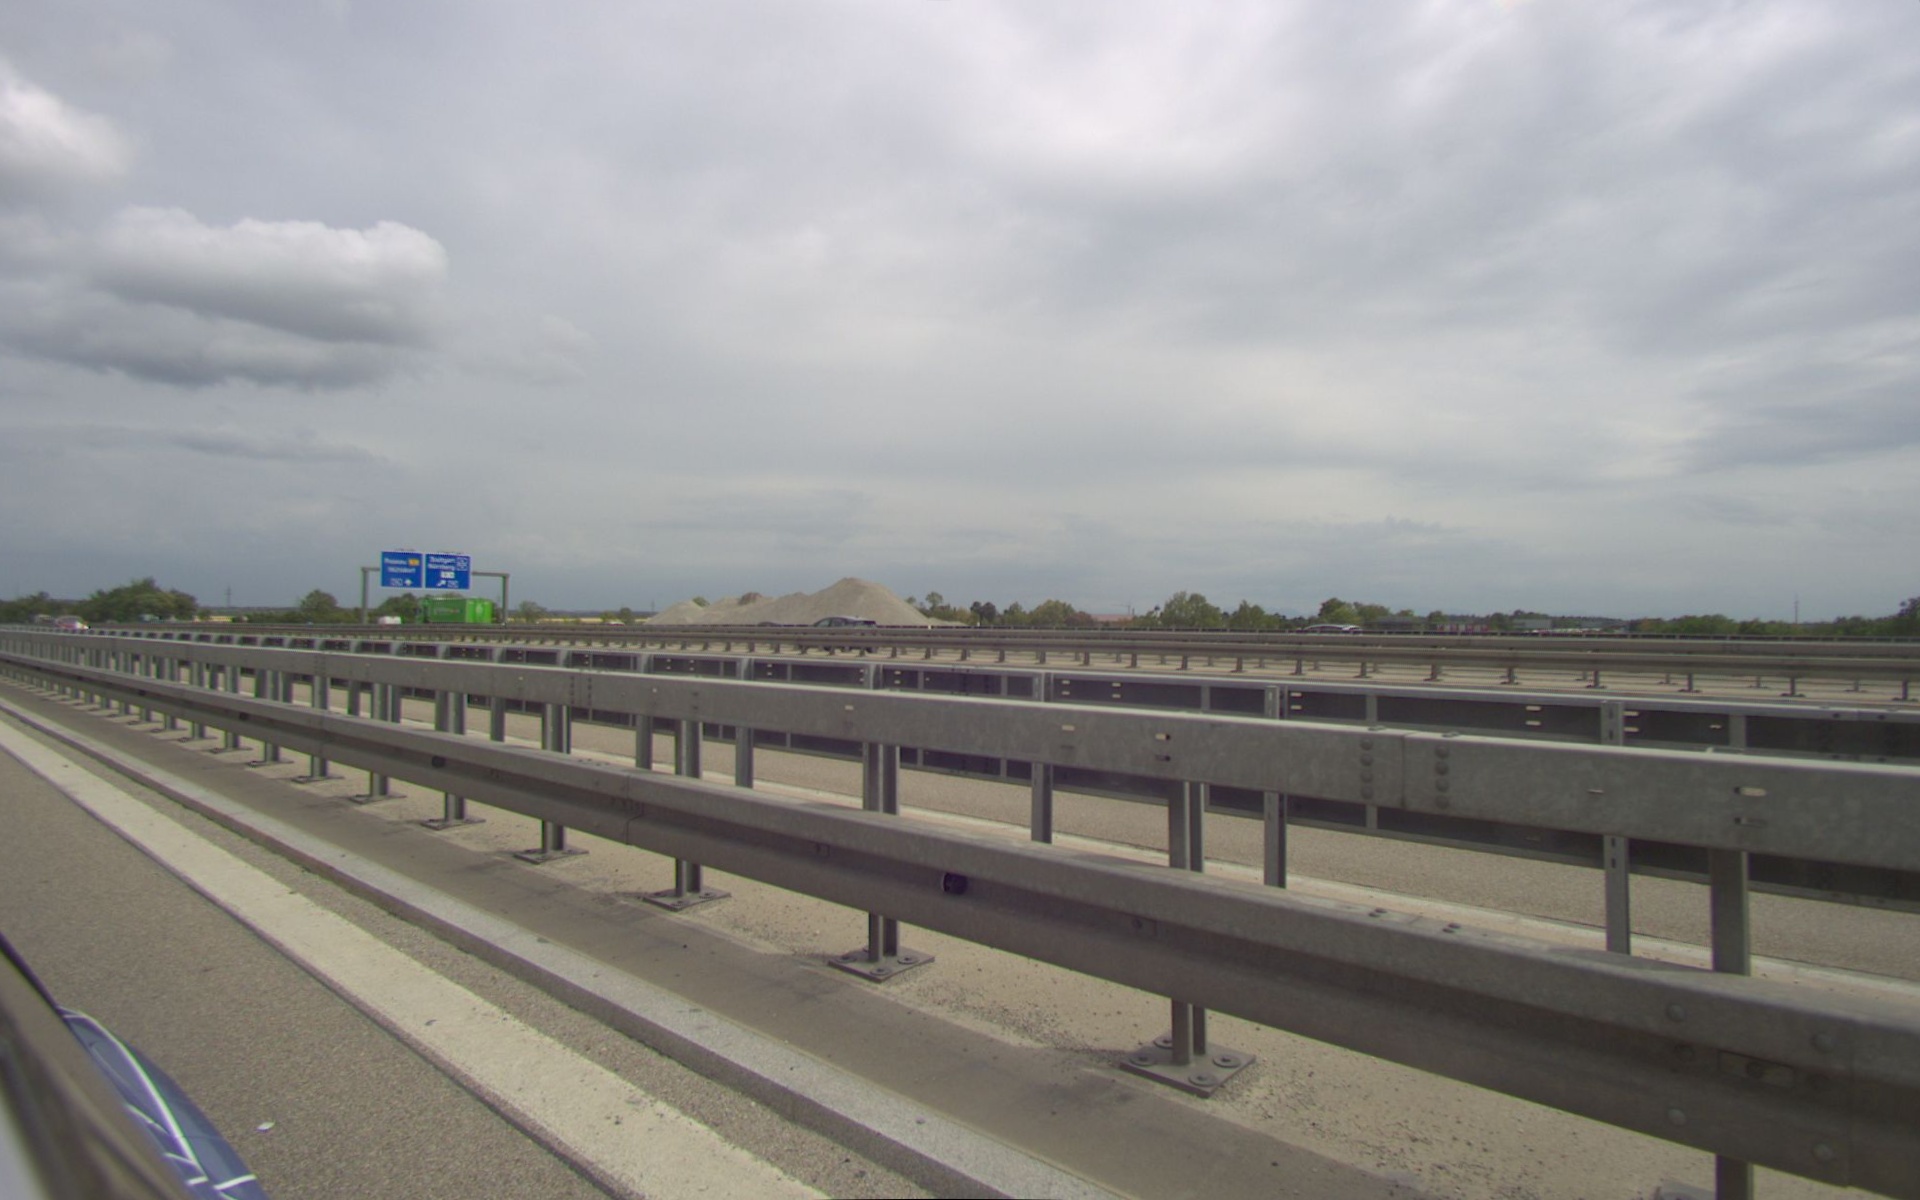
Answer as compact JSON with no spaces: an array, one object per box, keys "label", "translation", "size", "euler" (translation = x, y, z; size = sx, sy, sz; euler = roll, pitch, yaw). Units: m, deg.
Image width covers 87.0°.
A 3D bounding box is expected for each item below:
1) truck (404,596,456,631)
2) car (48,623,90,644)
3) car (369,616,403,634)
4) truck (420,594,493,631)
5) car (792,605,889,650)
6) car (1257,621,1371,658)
[{"label":"truck","translation":[-57.234,1.427,109.174],"size":[5.891,3.636,3.010],"euler":[-1,-1,41]},{"label":"car","translation":[-70.071,2.642,79.559],"size":[4.351,1.557,1.801],"euler":[-1,0,40]},{"label":"car","translation":[-74.675,3.256,131.566],"size":[5.514,2.240,2.173],"euler":[-1,0,41]},{"label":"truck","translation":[-52.182,1.285,104.739],"size":[10.431,3.662,2.982],"euler":[-1,0,41]},{"label":"car","translation":[-5.178,1.174,43.727],"size":[3.998,1.802,1.973],"euler":[-1,0,41]},{"label":"car","translation":[15.710,1.703,45.012],"size":[4.391,1.564,1.972],"euler":[-1,-1,42]}]
